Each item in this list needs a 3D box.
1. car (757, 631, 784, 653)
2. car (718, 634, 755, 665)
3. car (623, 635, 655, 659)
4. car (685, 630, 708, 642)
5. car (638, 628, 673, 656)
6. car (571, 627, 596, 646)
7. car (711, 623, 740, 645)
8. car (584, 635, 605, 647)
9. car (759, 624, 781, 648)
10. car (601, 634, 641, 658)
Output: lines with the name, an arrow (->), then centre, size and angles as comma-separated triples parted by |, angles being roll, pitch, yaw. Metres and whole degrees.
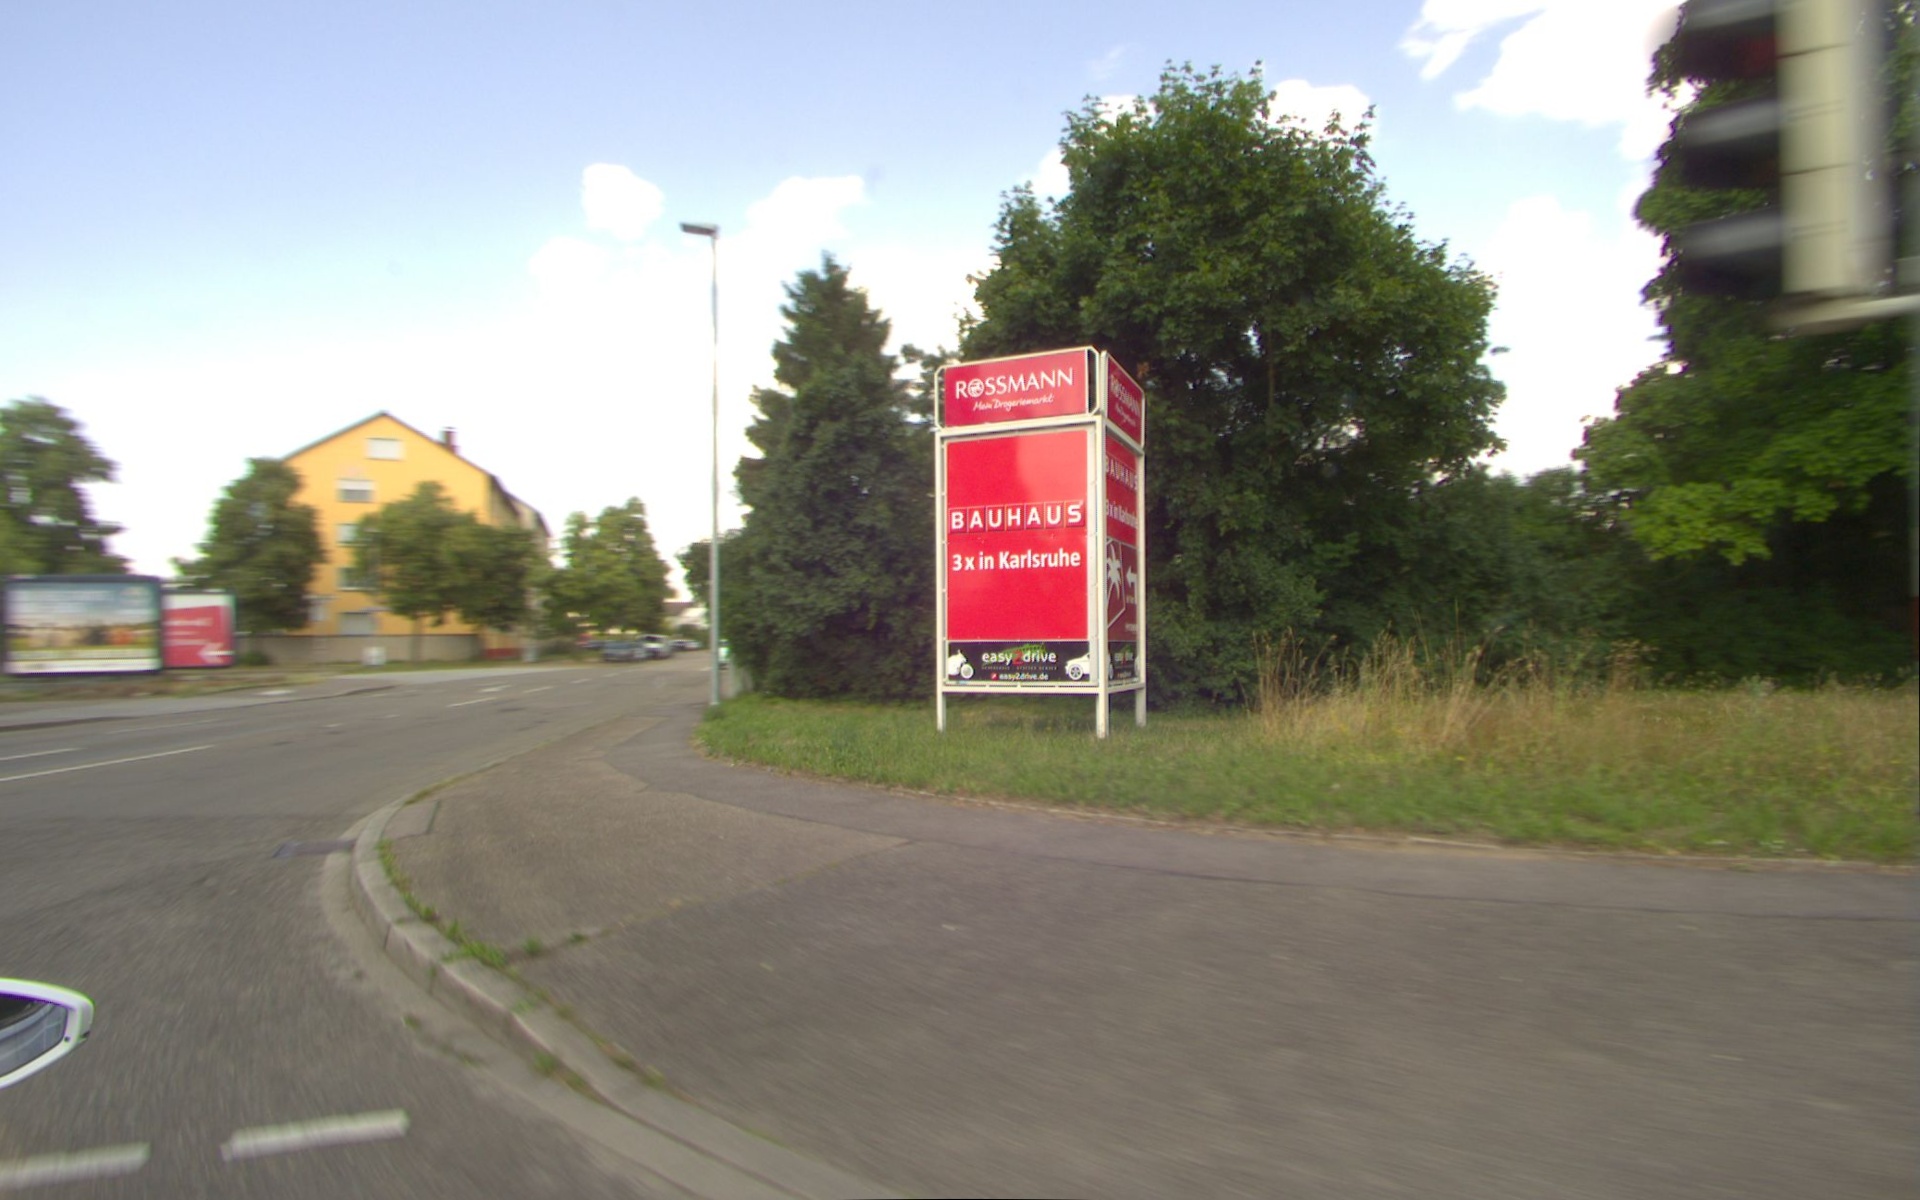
car -> -14.380, 3.202, 76.220 | 1.820, 1.599, 4.732 | 0, -2, -8
car -> -11.385, 2.496, 51.240 | 1.556, 1.539, 3.755 | 0, -2, -8
car -> -23.520, 3.455, 73.456 | 1.494, 1.568, 3.754 | 5, -2, -9
car -> -34.280, 4.701, 130.279 | 1.718, 1.476, 4.342 | 0, -2, -31
car -> -24.706, 3.396, 81.332 | 1.850, 2.034, 5.320 | 4, -2, -9
car -> -53.091, 5.172, 141.182 | 2.044, 2.531, 5.807 | 5, -4, -32
car -> -27.352, 4.011, 116.826 | 2.091, 2.472, 5.872 | 0, -2, -26
car -> -49.655, 5.628, 136.002 | 1.770, 1.475, 4.411 | 5, -5, -32
car -> -16.872, 3.148, 88.851 | 1.814, 1.969, 4.873 | -3, -1, -11
car -> -22.708, 3.120, 67.244 | 1.657, 1.504, 3.986 | 2, -3, -7
